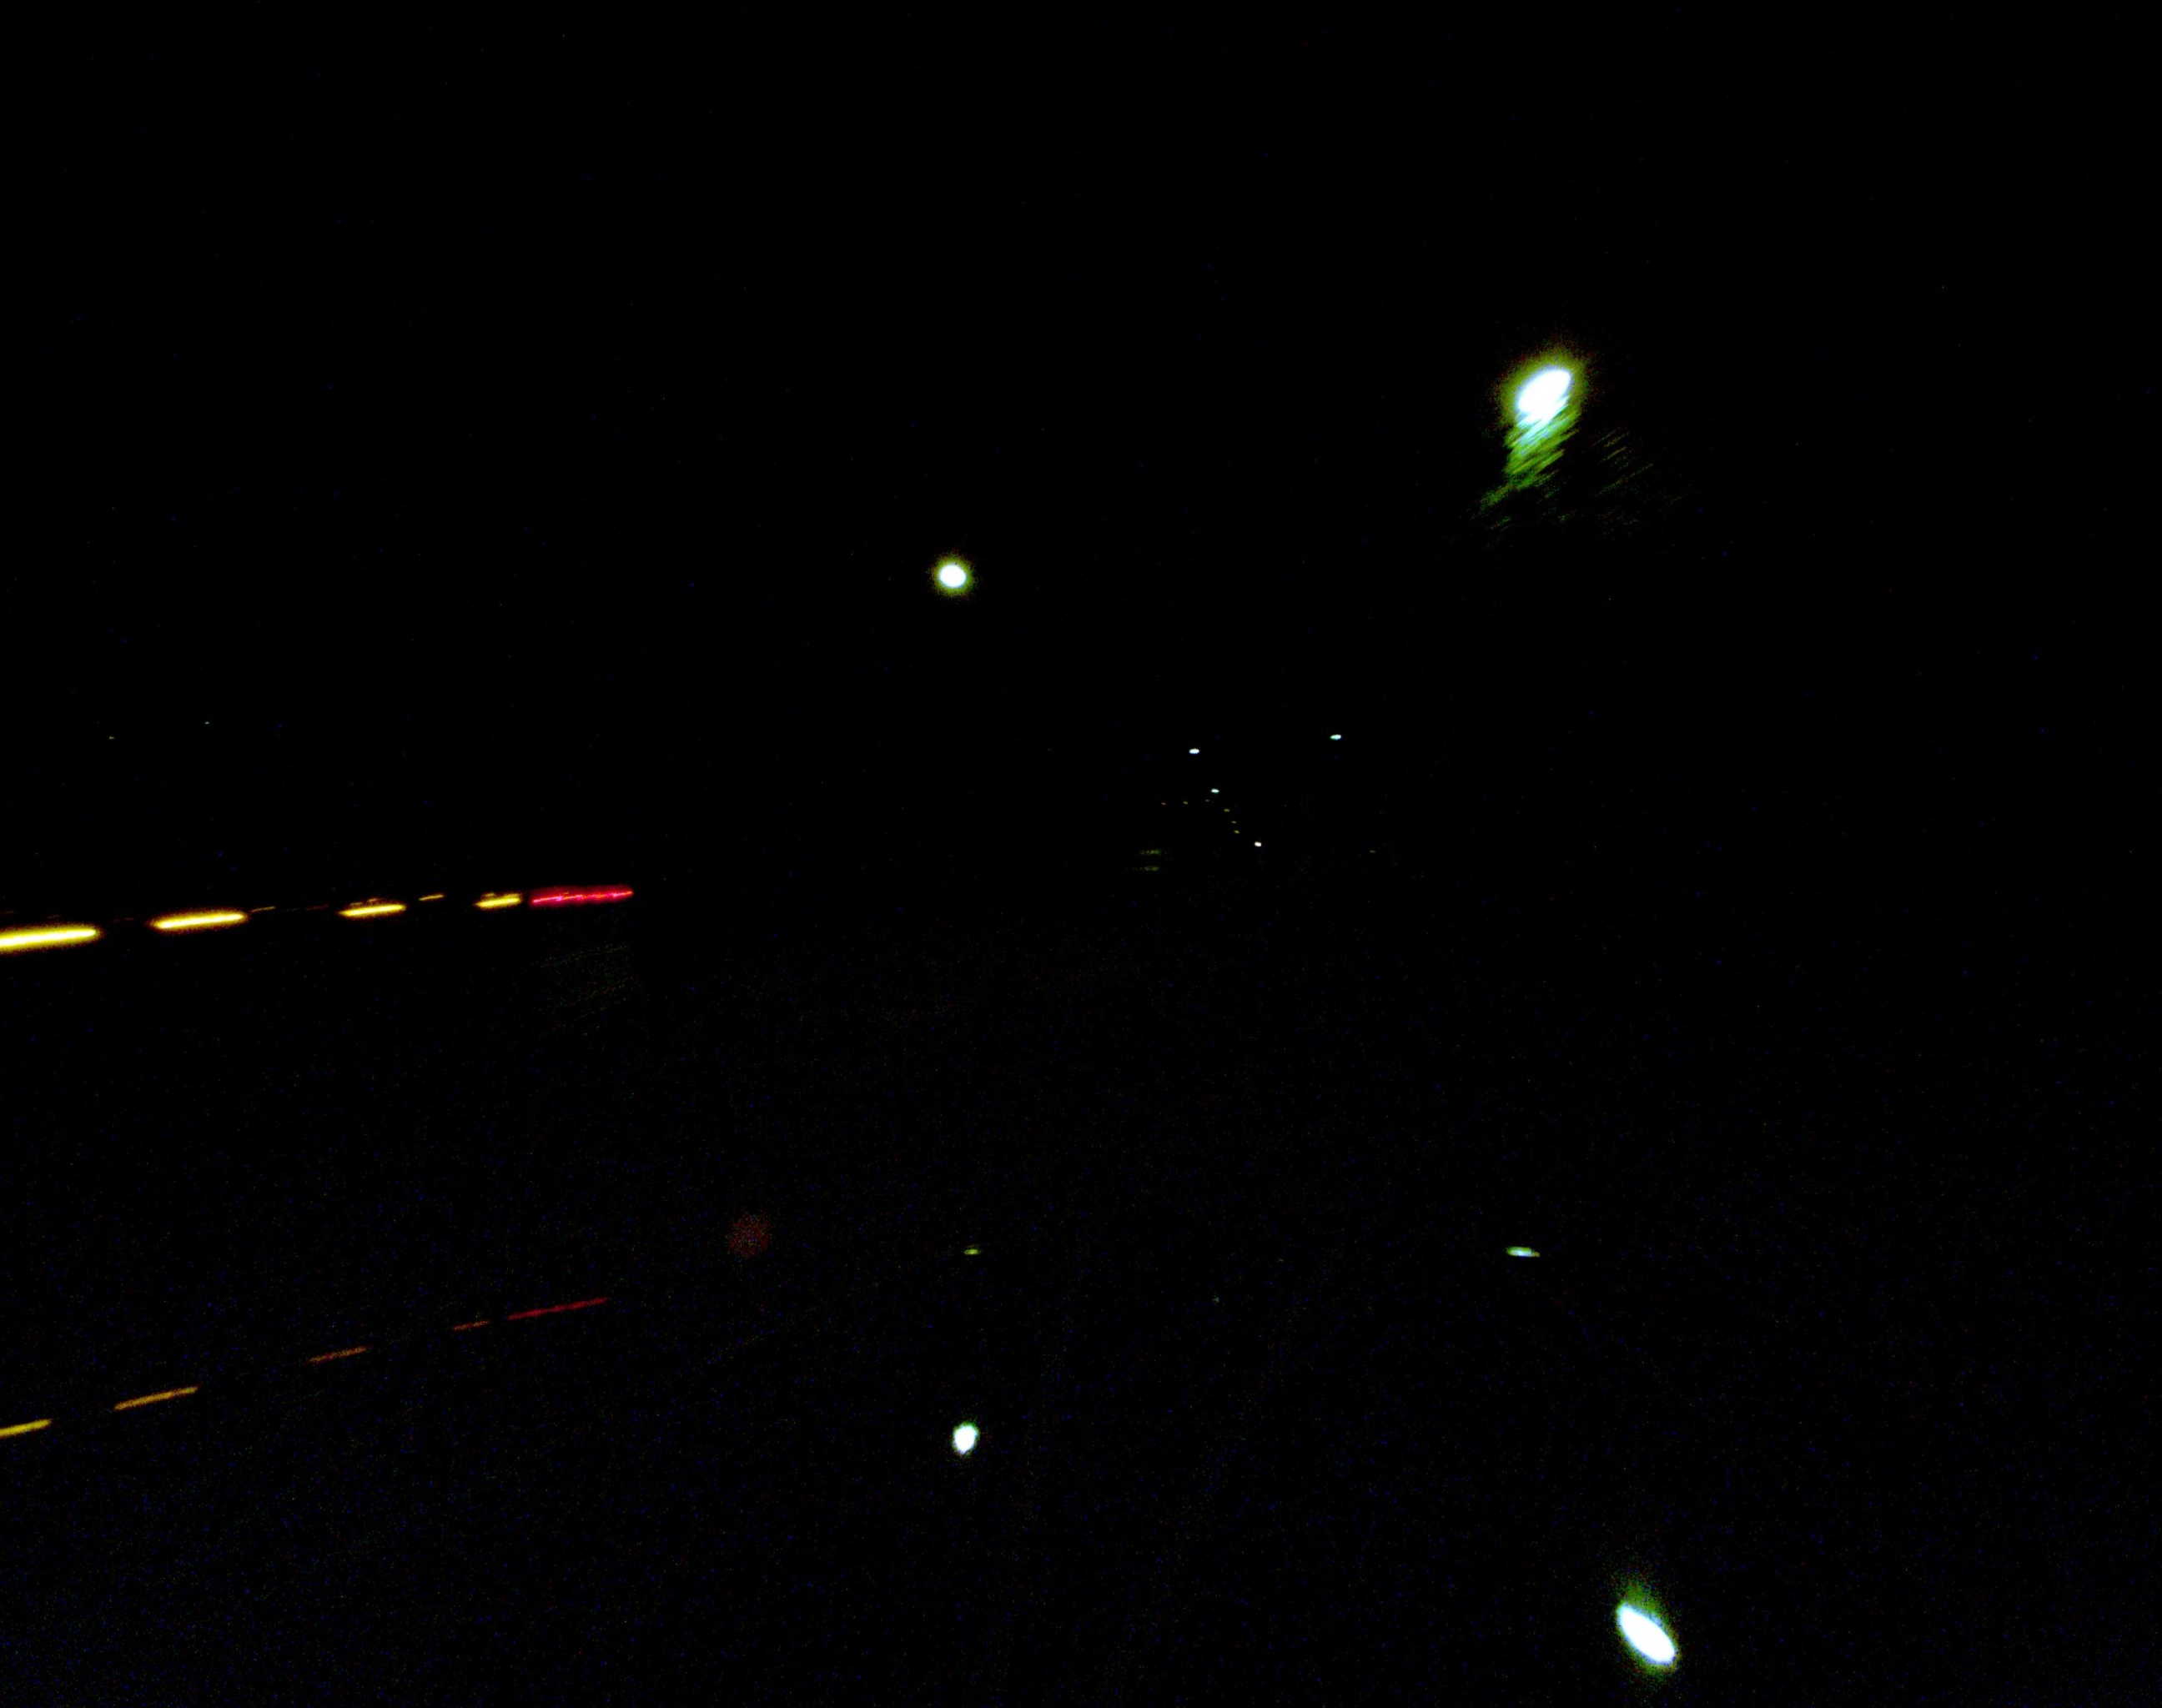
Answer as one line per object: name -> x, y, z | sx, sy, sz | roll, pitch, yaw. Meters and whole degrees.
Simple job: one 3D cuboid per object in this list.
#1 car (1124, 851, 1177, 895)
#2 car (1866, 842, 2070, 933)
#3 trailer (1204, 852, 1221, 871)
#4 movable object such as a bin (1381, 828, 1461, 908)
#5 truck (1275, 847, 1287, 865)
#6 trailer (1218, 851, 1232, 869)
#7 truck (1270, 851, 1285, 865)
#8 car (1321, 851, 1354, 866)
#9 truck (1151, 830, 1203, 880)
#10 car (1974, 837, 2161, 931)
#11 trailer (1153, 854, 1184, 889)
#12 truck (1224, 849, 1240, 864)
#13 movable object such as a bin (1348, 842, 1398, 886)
car -> 4.533, 1.171, 48.644 | 2.112, 2.501, 6.380 | -4, -2, 15
car -> 27.850, 1.007, 24.133 | 1.996, 2.539, 4.489 | -4, -1, 17
trailer -> 19.580, 1.078, 113.235 | 1.996, 2.635, 4.005 | -4, -1, 16
movable object such as a bin -> 12.298, 0.513, 27.689 | 1.573, 2.717, 3.703 | 0, -1, 6
truck -> 49.376, 0.441, 187.801 | 2.641, 4.289, 12.838 | -1, 0, 15
trailer -> 27.884, 1.242, 147.557 | 2.402, 3.305, 4.366 | -4, -1, 10
truck -> 55.703, 1.145, 215.325 | 2.827, 3.609, 10.411 | -4, -2, 9
car -> 38.683, 0.744, 114.856 | 4.439, 1.960, 2.002 | -4, -1, 12
truck -> 8.482, 0.089, 65.799 | 3.329, 3.845, 9.337 | -4, -1, 13
car -> 30.433, 0.845, 23.117 | 1.996, 2.539, 4.489 | -4, -1, 17
trailer -> 6.706, 1.281, 57.767 | 1.634, 2.458, 5.033 | -4, -1, 13
truck -> 39.472, 0.687, 198.006 | 2.513, 3.814, 12.676 | -4, -2, 17
movable object such as a bin -> 17.360, 0.592, 45.248 | 1.553, 2.453, 2.838 | -2, 0, -8
